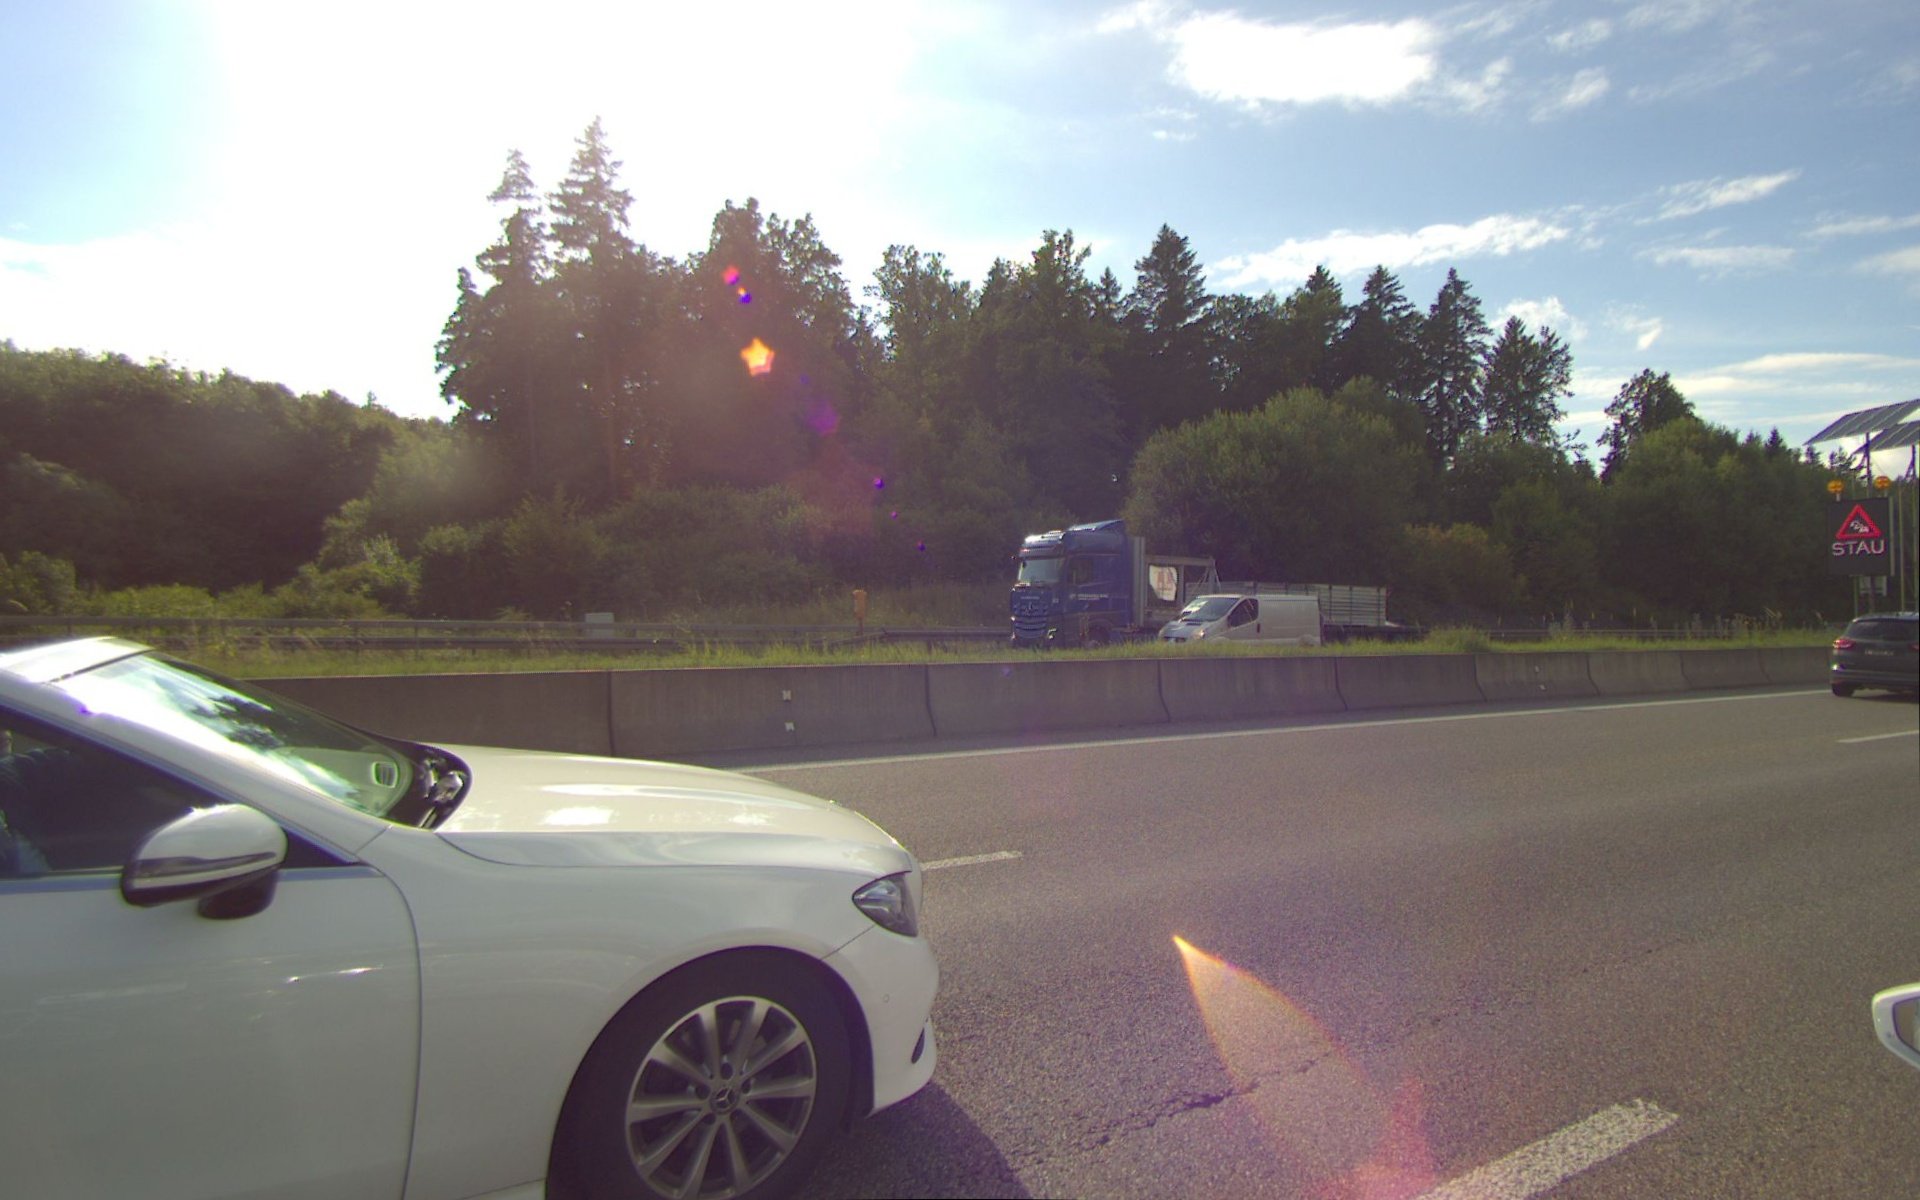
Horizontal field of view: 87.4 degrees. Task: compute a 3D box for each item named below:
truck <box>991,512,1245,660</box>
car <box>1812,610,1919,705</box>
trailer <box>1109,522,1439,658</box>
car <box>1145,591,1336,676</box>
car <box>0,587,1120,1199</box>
[{"bbox_3d":[4.714,-0.312,29.596,7.040,3.889,3.100,1,0,-31],"label":"truck"},{"bbox_3d":[18.148,1.013,19.039,4.157,1.607,1.798,0,1,-31],"label":"car"},{"bbox_3d":[10.638,-0.201,33.108,12.066,3.889,3.109,1,0,-31],"label":"trailer"},{"bbox_3d":[7.293,0.833,25.996,4.801,2.040,1.984,1,0,-30],"label":"car"},{"bbox_3d":[-2.509,0.731,2.270,5.668,1.519,2.050,1,0,-30],"label":"car"}]
